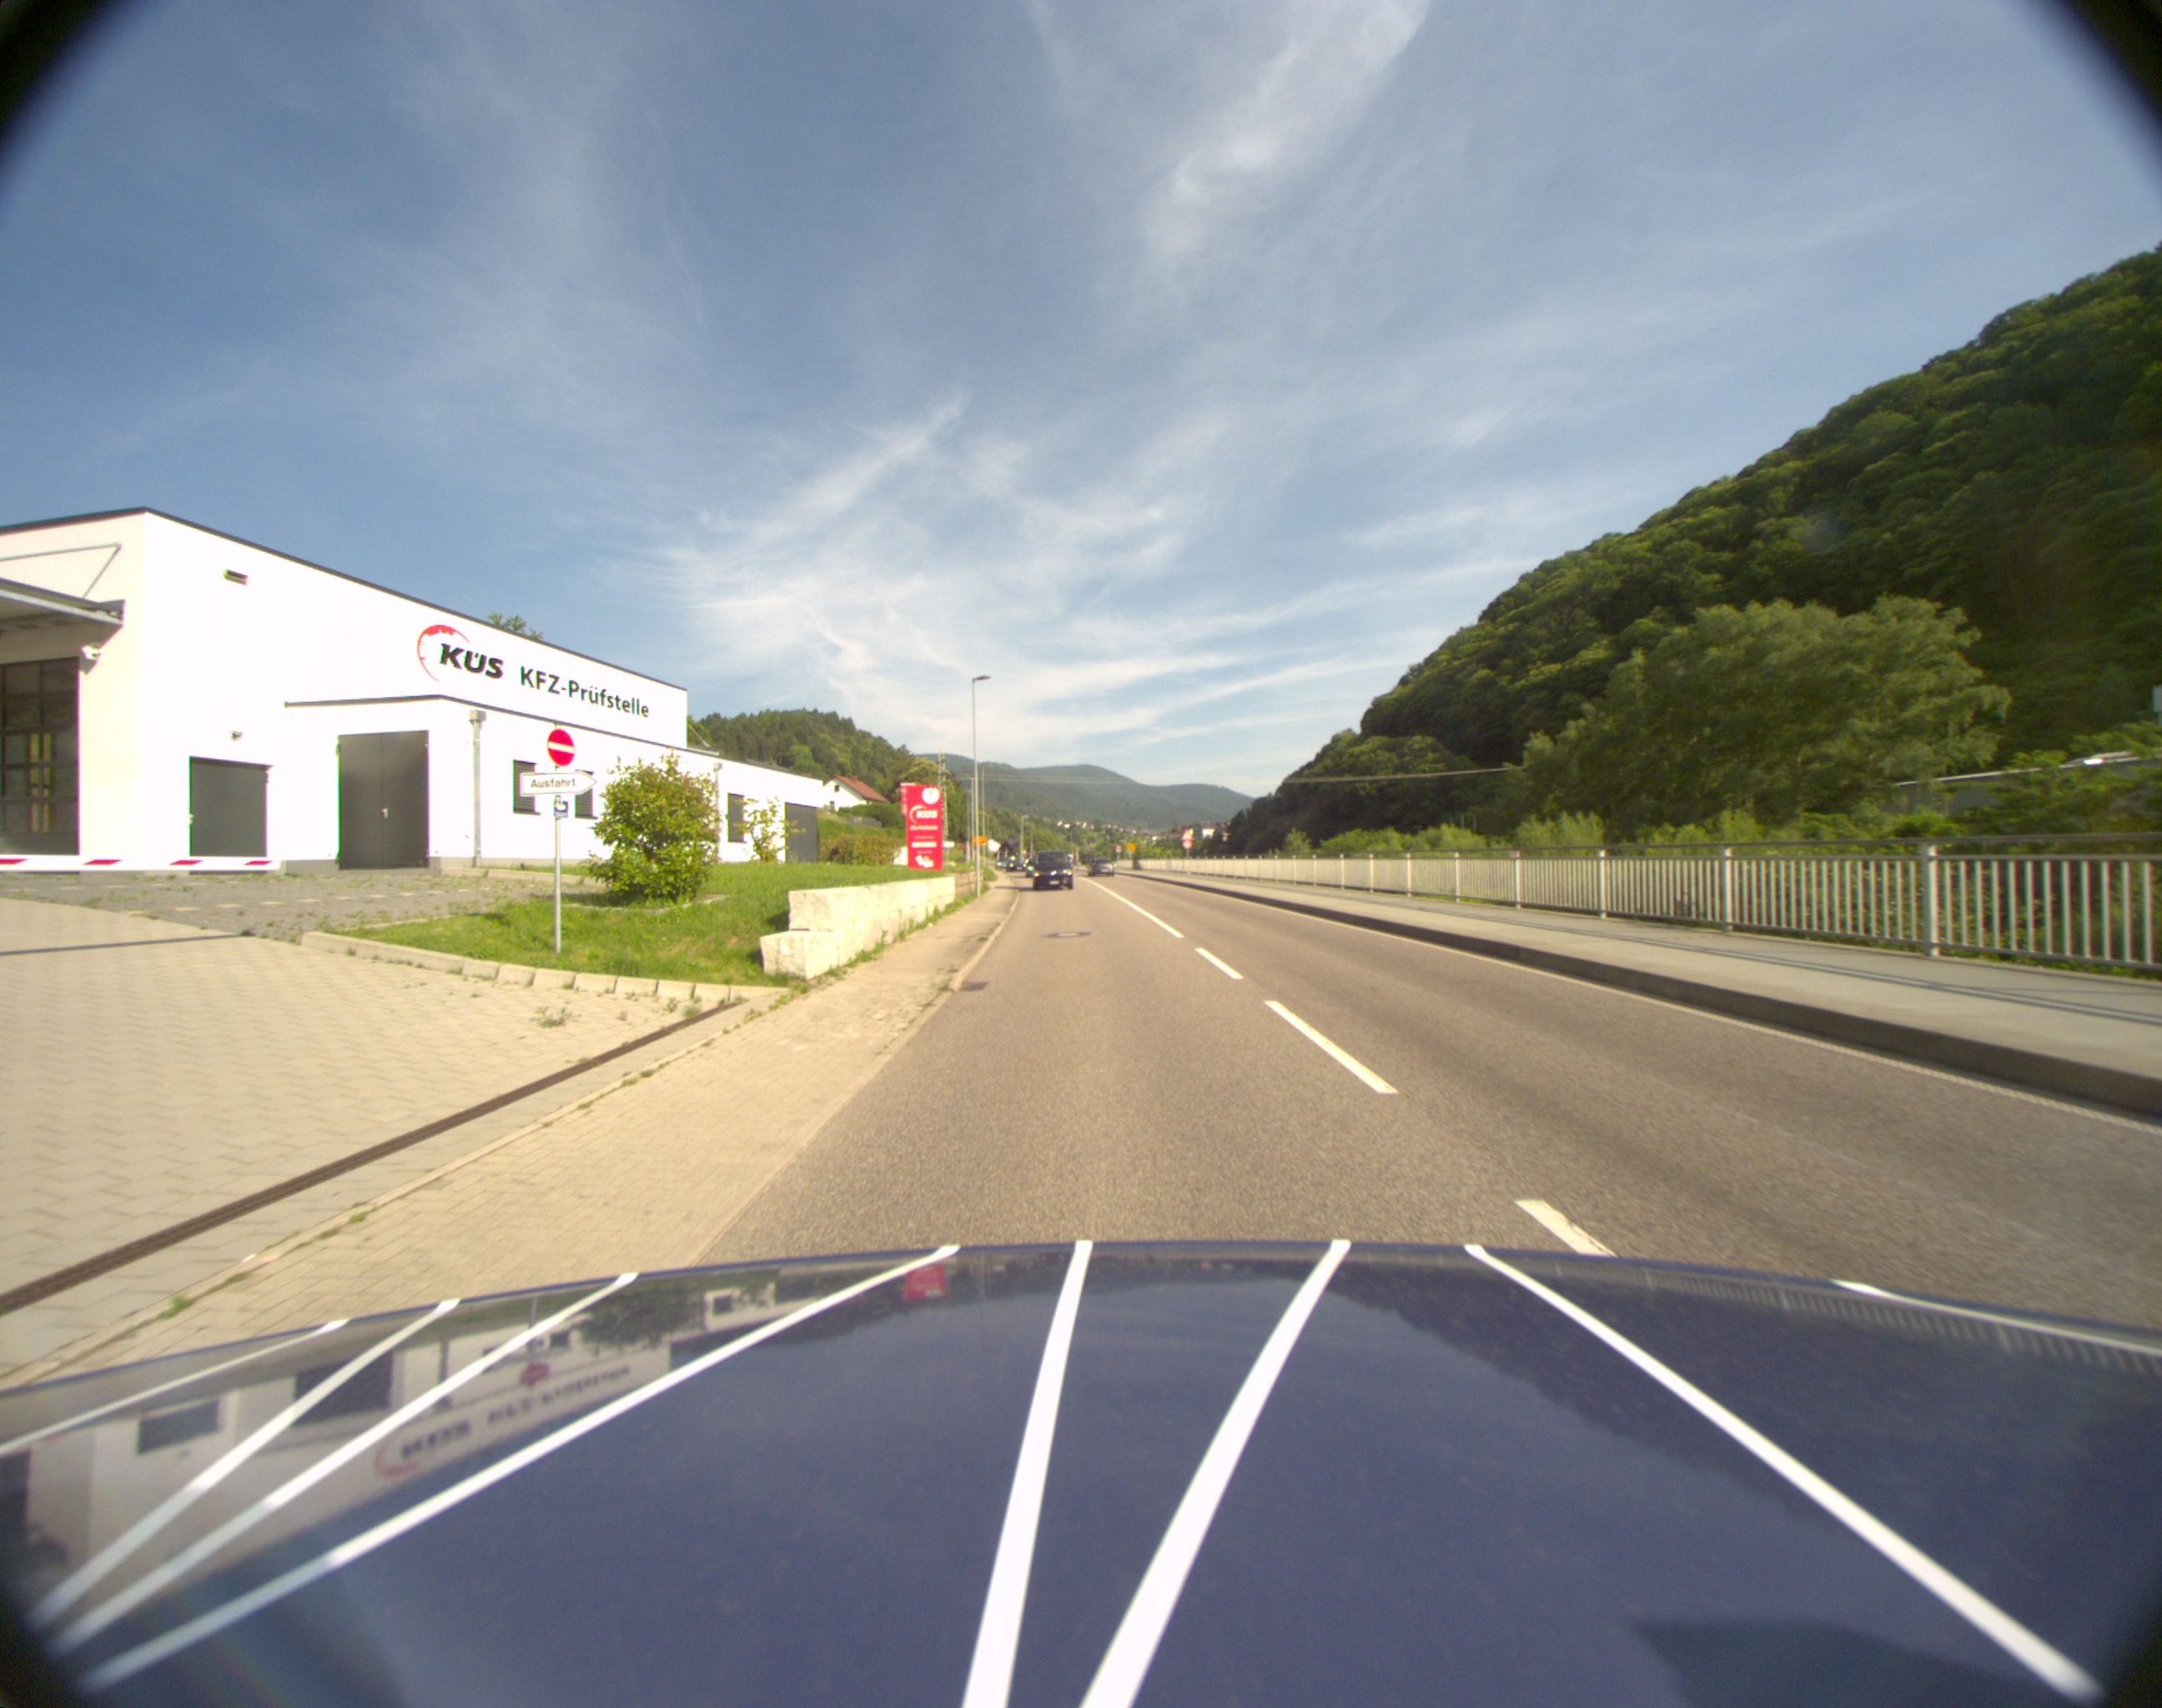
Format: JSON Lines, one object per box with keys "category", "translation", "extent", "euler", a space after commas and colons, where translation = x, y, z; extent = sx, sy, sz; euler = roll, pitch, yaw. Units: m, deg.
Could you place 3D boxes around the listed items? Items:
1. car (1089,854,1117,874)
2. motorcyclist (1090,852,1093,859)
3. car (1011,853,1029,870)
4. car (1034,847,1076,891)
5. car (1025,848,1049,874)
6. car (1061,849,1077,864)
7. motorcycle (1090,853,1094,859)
{"category": "car", "translation": [1.672, 0.768, 59.838], "extent": [1.818, 1.475, 4.797], "euler": [-1, 0, -3]}
{"category": "motorcyclist", "translation": [2.406, 0.334, 169.749], "extent": [0.765, 1.668, 0.727], "euler": [0, 1, 1]}
{"category": "car", "translation": [-6.404, 0.778, 79.031], "extent": [1.614, 1.622, 3.820], "euler": [-1, -1, -8]}
{"category": "car", "translation": [-1.287, 0.701, 38.102], "extent": [1.865, 1.936, 4.637], "euler": [-4, 0, -2]}
{"category": "car", "translation": [-3.373, 0.566, 59.355], "extent": [1.613, 2.001, 3.823], "euler": [-1, -1, 0]}
{"category": "car", "translation": [-1.586, 0.292, 99.171], "extent": [1.925, 1.956, 5.144], "euler": [0, 1, -1]}
{"category": "motorcycle", "translation": [2.412, 0.493, 169.688], "extent": [0.774, 1.414, 2.318], "euler": [0, 0, 0]}
